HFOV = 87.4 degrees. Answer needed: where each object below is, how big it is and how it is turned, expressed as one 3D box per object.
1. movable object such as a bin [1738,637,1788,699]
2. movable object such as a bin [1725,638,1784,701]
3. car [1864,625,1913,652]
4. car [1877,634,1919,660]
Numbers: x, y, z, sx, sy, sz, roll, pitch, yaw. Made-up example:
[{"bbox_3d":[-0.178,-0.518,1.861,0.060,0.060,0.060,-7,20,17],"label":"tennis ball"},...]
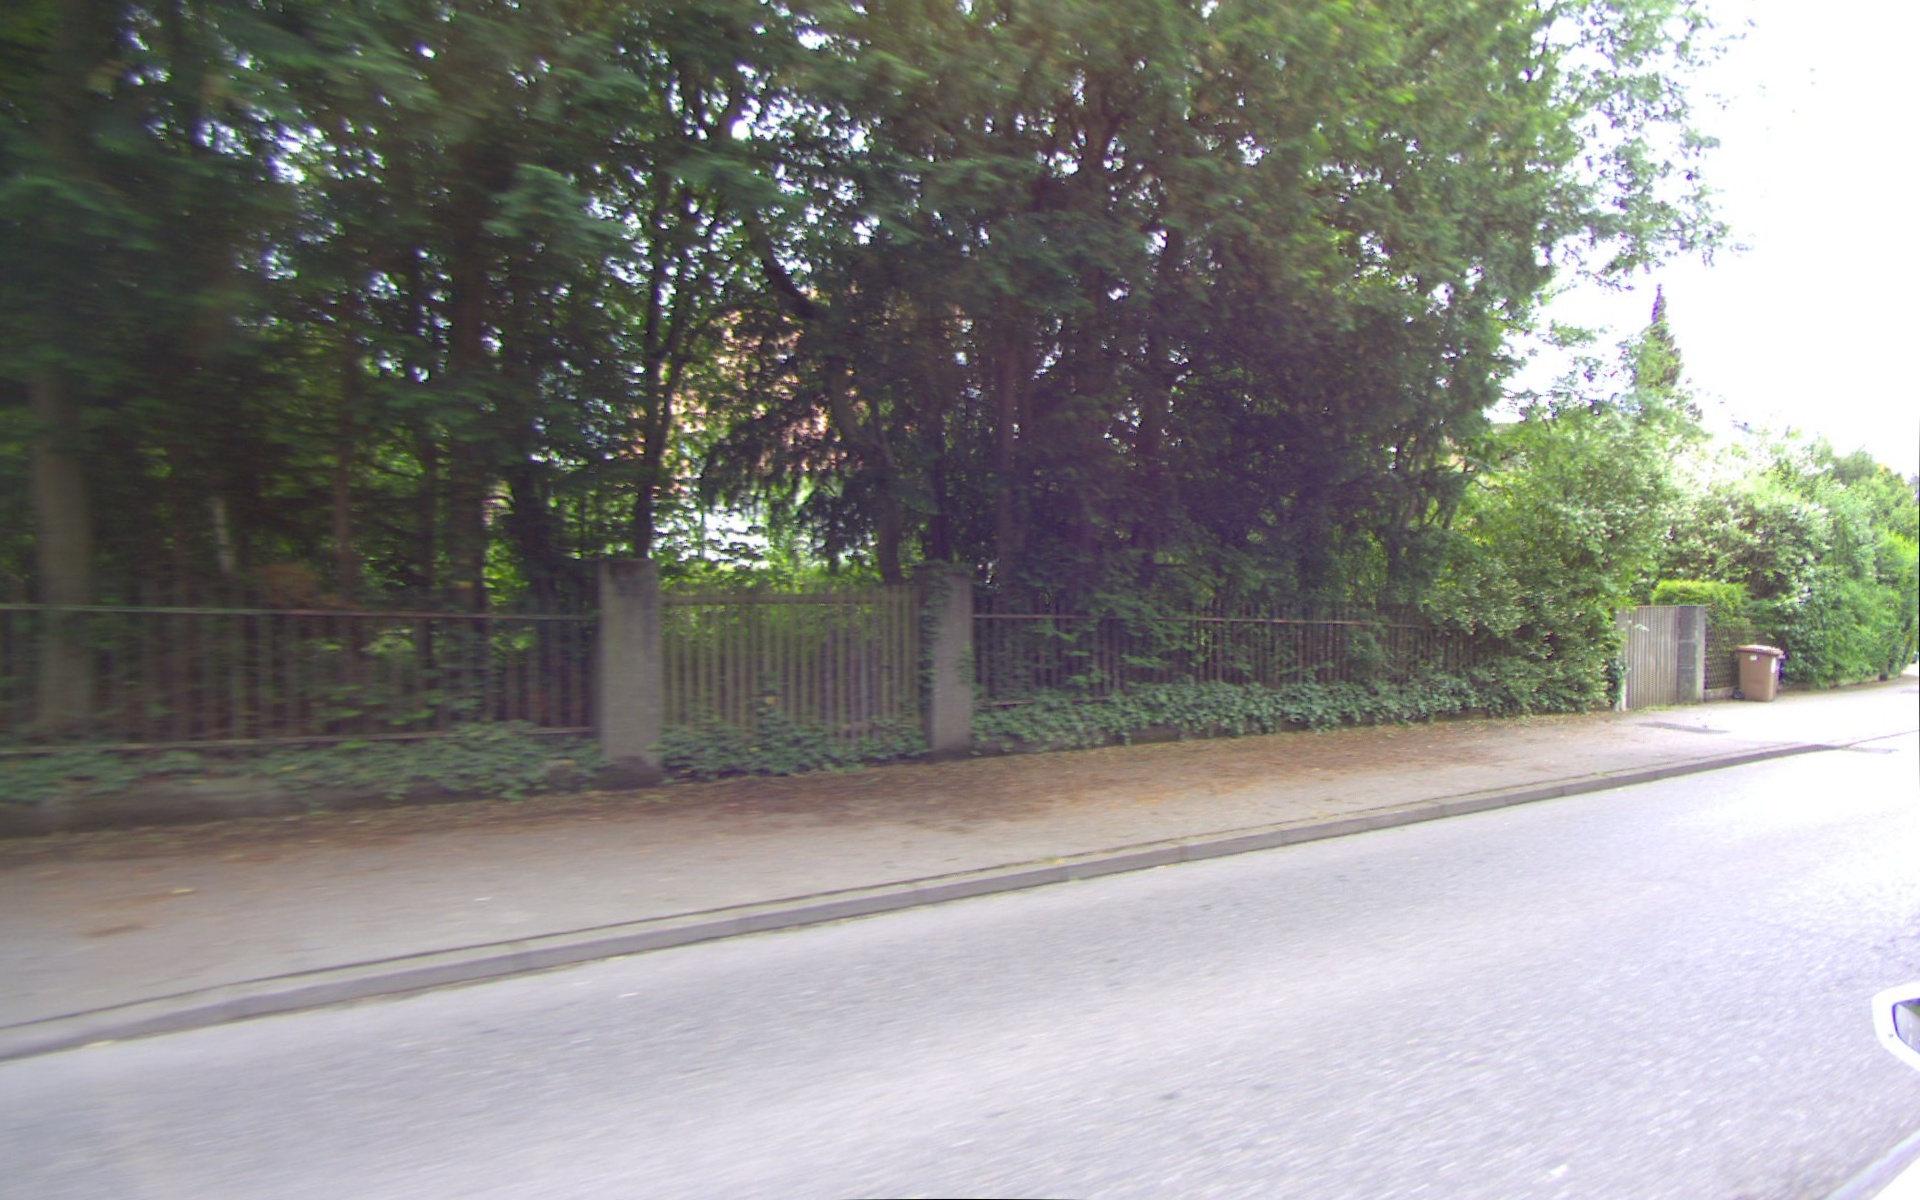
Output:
[{"bbox_3d":[16.122,1.352,20.167,0.641,1.160,0.624,1,1,-38],"label":"movable object such as a bin"},{"bbox_3d":[15.546,1.340,19.662,0.641,1.156,0.735,1,1,-38],"label":"movable object such as a bin"},{"bbox_3d":[61.966,2.563,67.085,1.868,1.728,3.986,1,-1,36],"label":"car"},{"bbox_3d":[54.992,2.731,58.759,1.891,1.416,3.889,-1,-2,41],"label":"car"}]
